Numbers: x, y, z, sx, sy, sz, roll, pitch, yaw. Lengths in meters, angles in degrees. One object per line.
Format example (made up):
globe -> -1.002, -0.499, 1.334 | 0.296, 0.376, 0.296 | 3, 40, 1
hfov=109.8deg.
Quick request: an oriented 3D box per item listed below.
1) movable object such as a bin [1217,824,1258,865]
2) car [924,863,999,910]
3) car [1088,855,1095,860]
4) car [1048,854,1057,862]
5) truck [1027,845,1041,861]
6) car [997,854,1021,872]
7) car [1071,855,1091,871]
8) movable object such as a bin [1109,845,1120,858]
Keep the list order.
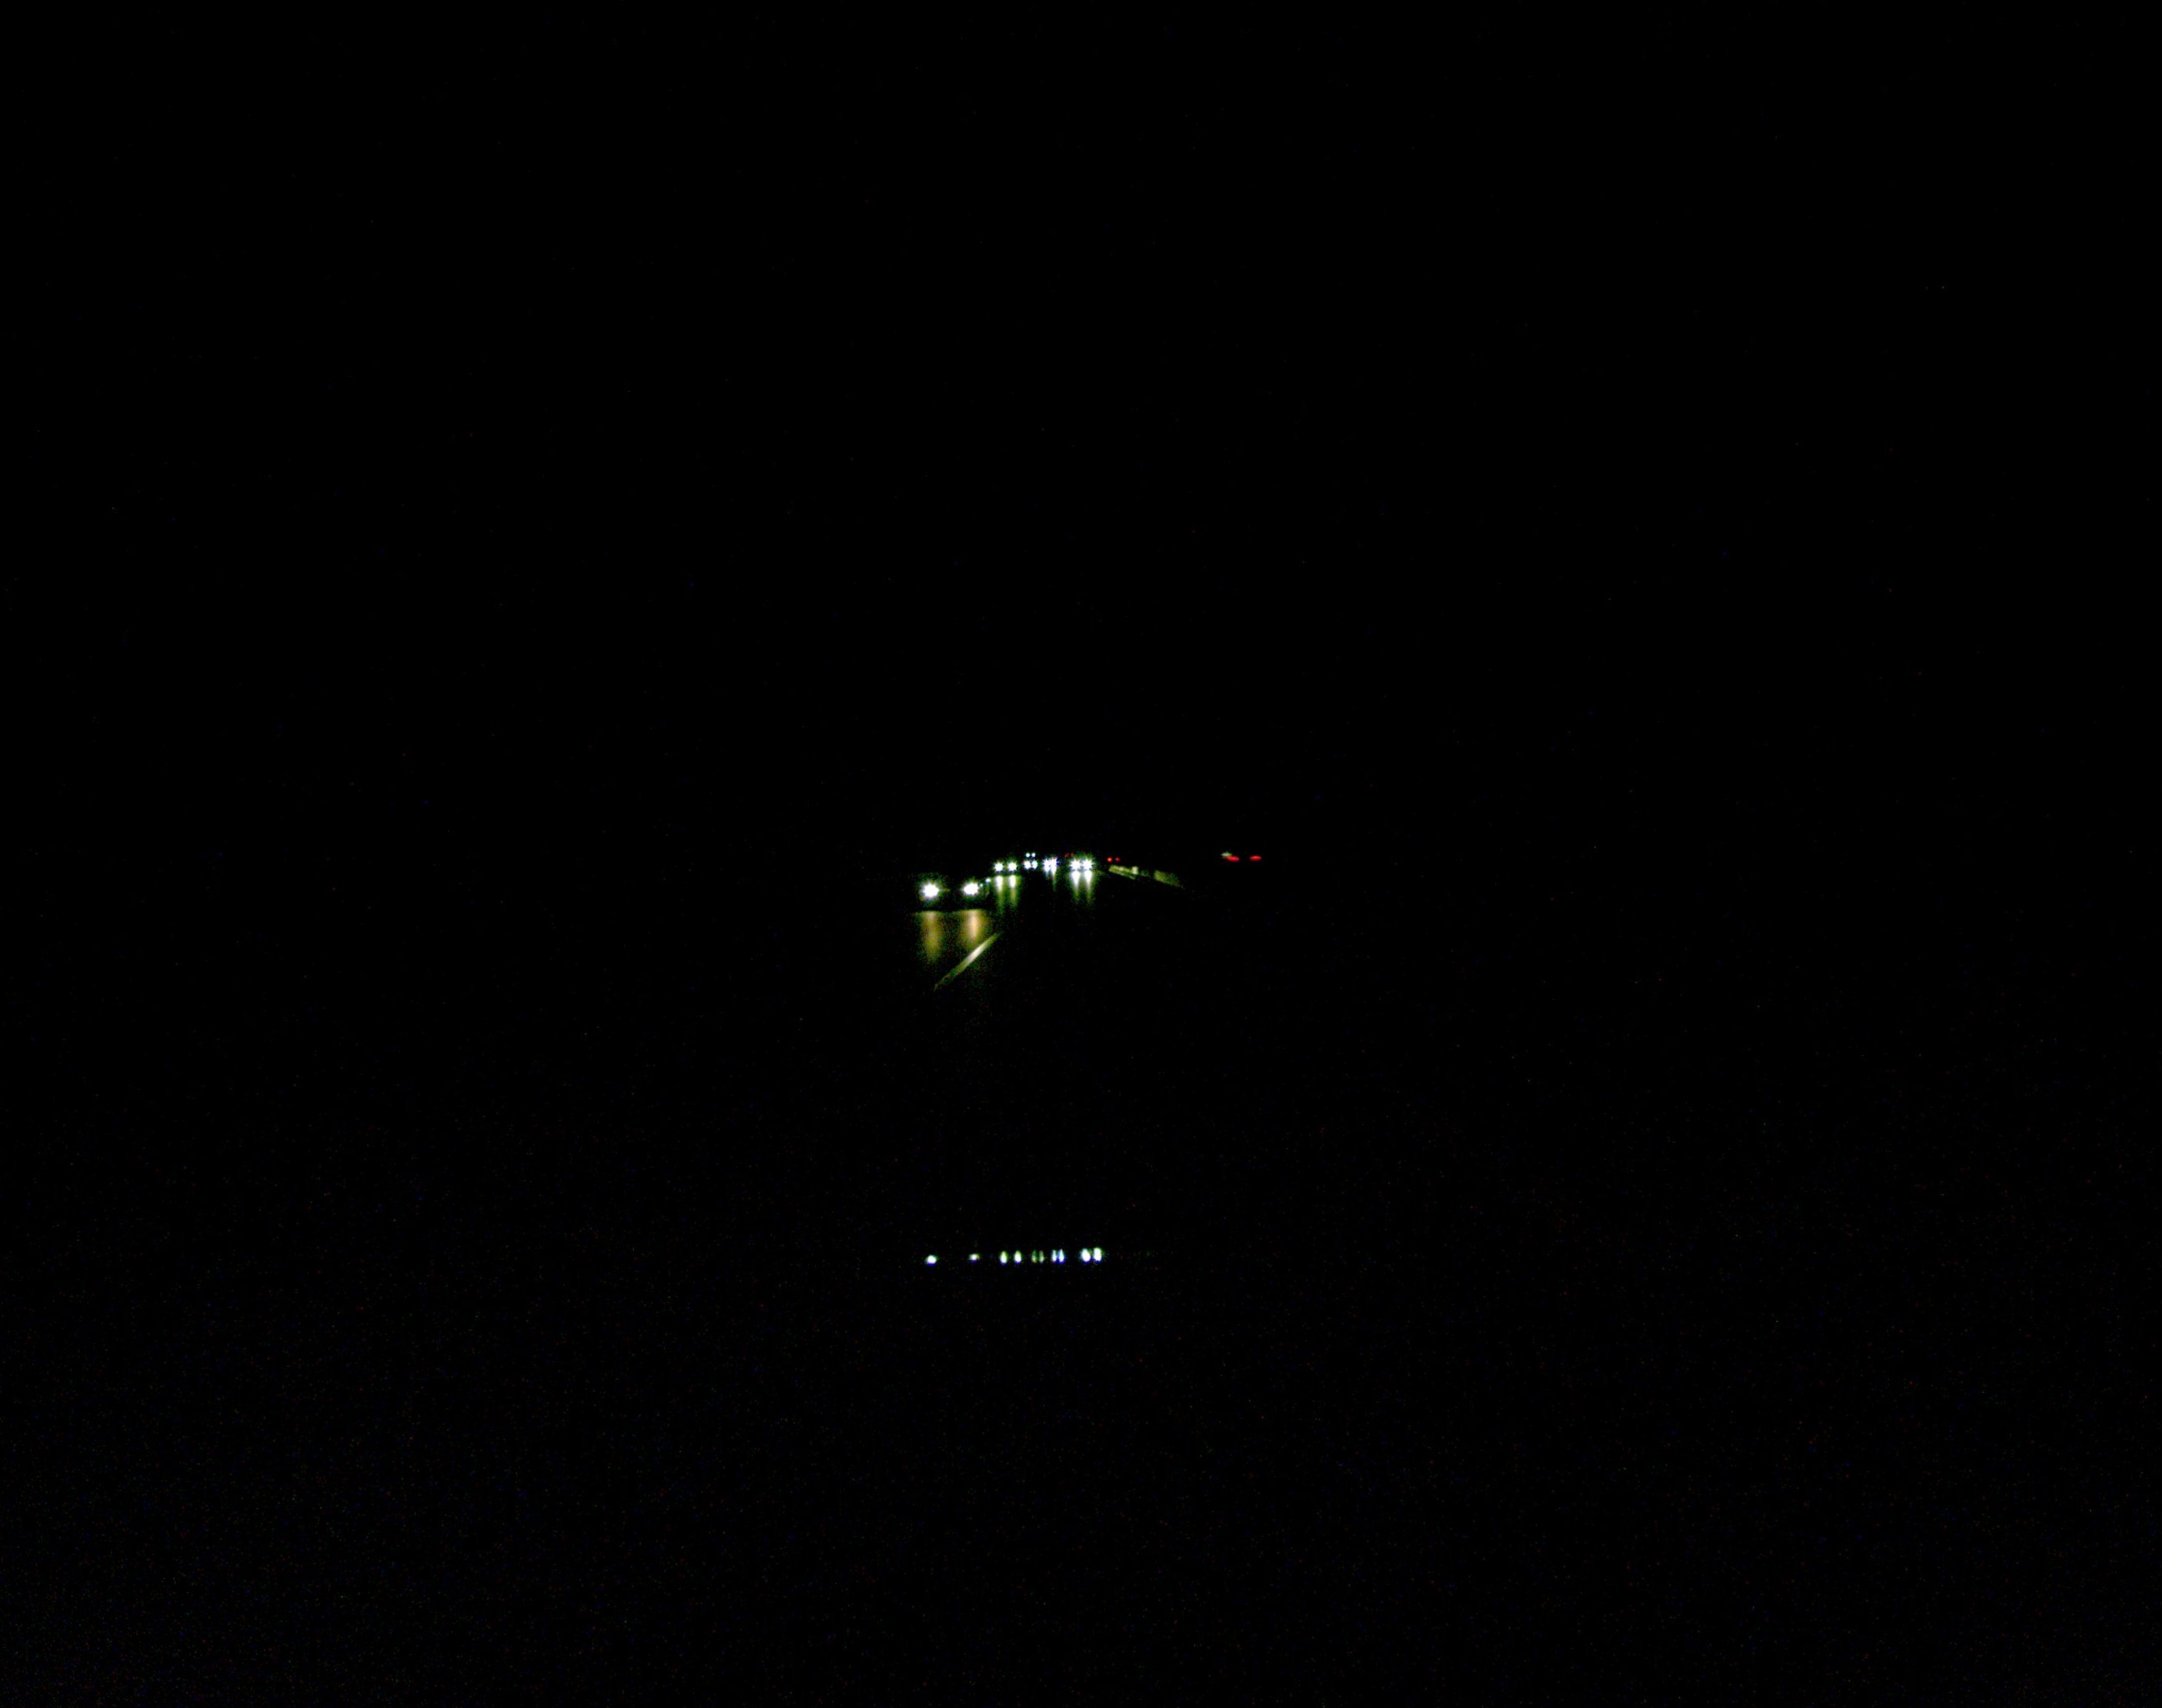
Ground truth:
movable object such as a bin -> 15.358, -0.932, 74.994 | 2.299, 3.747, 7.685 | -2, 0, 0
car -> -4.080, 1.055, 26.804 | 1.840, 1.393, 5.069 | -3, 0, -1
car -> 3.291, 1.159, 237.622 | 1.938, 1.444, 4.452 | -3, 0, -2
car -> -6.392, 0.867, 170.527 | 1.940, 1.608, 3.999 | -3, 0, -4
truck -> -13.630, -0.211, 220.916 | 3.348, 4.407, 6.989 | -3, 0, -7
car -> -7.502, 0.902, 80.078 | 1.999, 1.707, 5.167 | -3, 0, 0
car -> 0.034, 0.972, 86.206 | 2.012, 1.652, 4.000 | -3, 0, 2
movable object such as a bin -> 9.509, -0.737, 215.927 | 2.213, 3.397, 7.435 | -2, 0, -2
